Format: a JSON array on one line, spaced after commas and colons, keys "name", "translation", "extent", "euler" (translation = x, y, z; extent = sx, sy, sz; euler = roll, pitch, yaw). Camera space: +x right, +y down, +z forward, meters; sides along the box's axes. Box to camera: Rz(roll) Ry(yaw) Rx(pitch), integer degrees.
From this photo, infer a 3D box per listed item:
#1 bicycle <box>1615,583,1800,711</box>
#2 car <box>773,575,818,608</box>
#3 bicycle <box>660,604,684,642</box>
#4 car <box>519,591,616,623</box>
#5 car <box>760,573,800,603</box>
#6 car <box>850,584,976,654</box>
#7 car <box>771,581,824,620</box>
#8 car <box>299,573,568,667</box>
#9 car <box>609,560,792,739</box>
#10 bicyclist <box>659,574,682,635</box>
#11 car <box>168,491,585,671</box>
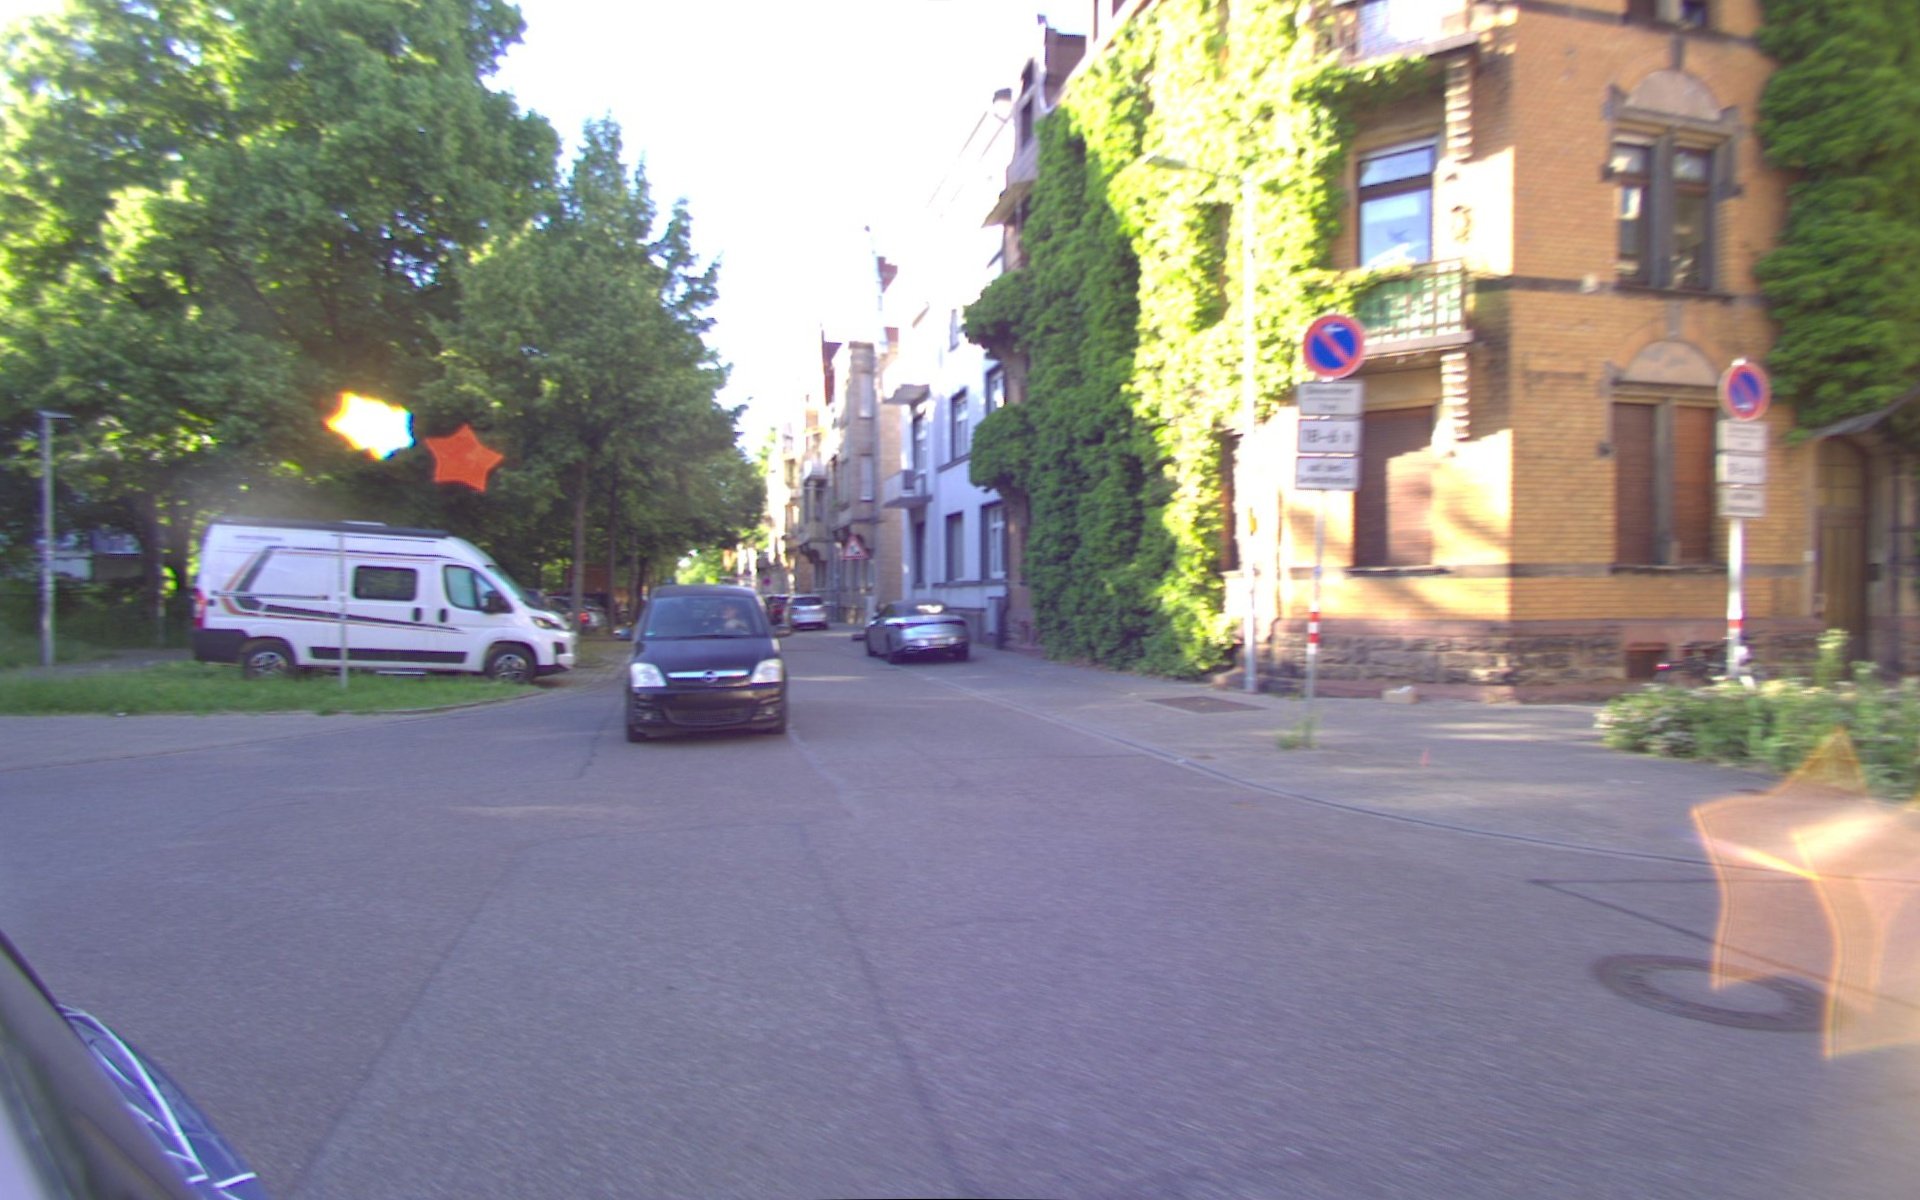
[{"name": "bicycle", "translation": [7.881, 0.477, 10.692], "extent": [1.578, 1.278, 0.565], "euler": [-1, 0, -6]}, {"name": "car", "translation": [-8.701, -0.480, 53.350], "extent": [1.966, 1.637, 4.156], "euler": [-1, 2, -14]}, {"name": "bicycle", "translation": [-7.984, 0.606, 28.016], "extent": [0.604, 0.982, 2.075], "euler": [-1, 1, -17]}, {"name": "car", "translation": [-17.287, 0.267, 44.746], "extent": [3.815, 1.265, 1.791], "euler": [-1, 2, -17]}, {"name": "car", "translation": [-10.535, -0.718, 59.120], "extent": [1.966, 1.637, 4.156], "euler": [-1, 2, -14]}, {"name": "car", "translation": [-1.251, 0.369, 24.193], "extent": [1.851, 1.415, 4.940], "euler": [-3, 1, -16]}, {"name": "car", "translation": [-7.205, -0.026, 44.707], "extent": [1.837, 1.558, 3.805], "euler": [-1, 2, -16]}, {"name": "car", "translation": [-9.830, 0.303, 19.289], "extent": [4.226, 1.587, 1.985], "euler": [-1, 2, -17]}, {"name": "car", "translation": [-3.017, 0.433, 11.524], "extent": [1.622, 1.602, 4.032], "euler": [-3, 1, -17]}, {"name": "bicyclist", "translation": [-8.075, 0.121, 28.193], "extent": [0.586, 1.668, 0.713], "euler": [-1, 2, -16]}, {"name": "car", "translation": [-9.233, -0.362, 16.683], "extent": [5.535, 2.633, 2.246], "euler": [-1, 2, -16]}]
